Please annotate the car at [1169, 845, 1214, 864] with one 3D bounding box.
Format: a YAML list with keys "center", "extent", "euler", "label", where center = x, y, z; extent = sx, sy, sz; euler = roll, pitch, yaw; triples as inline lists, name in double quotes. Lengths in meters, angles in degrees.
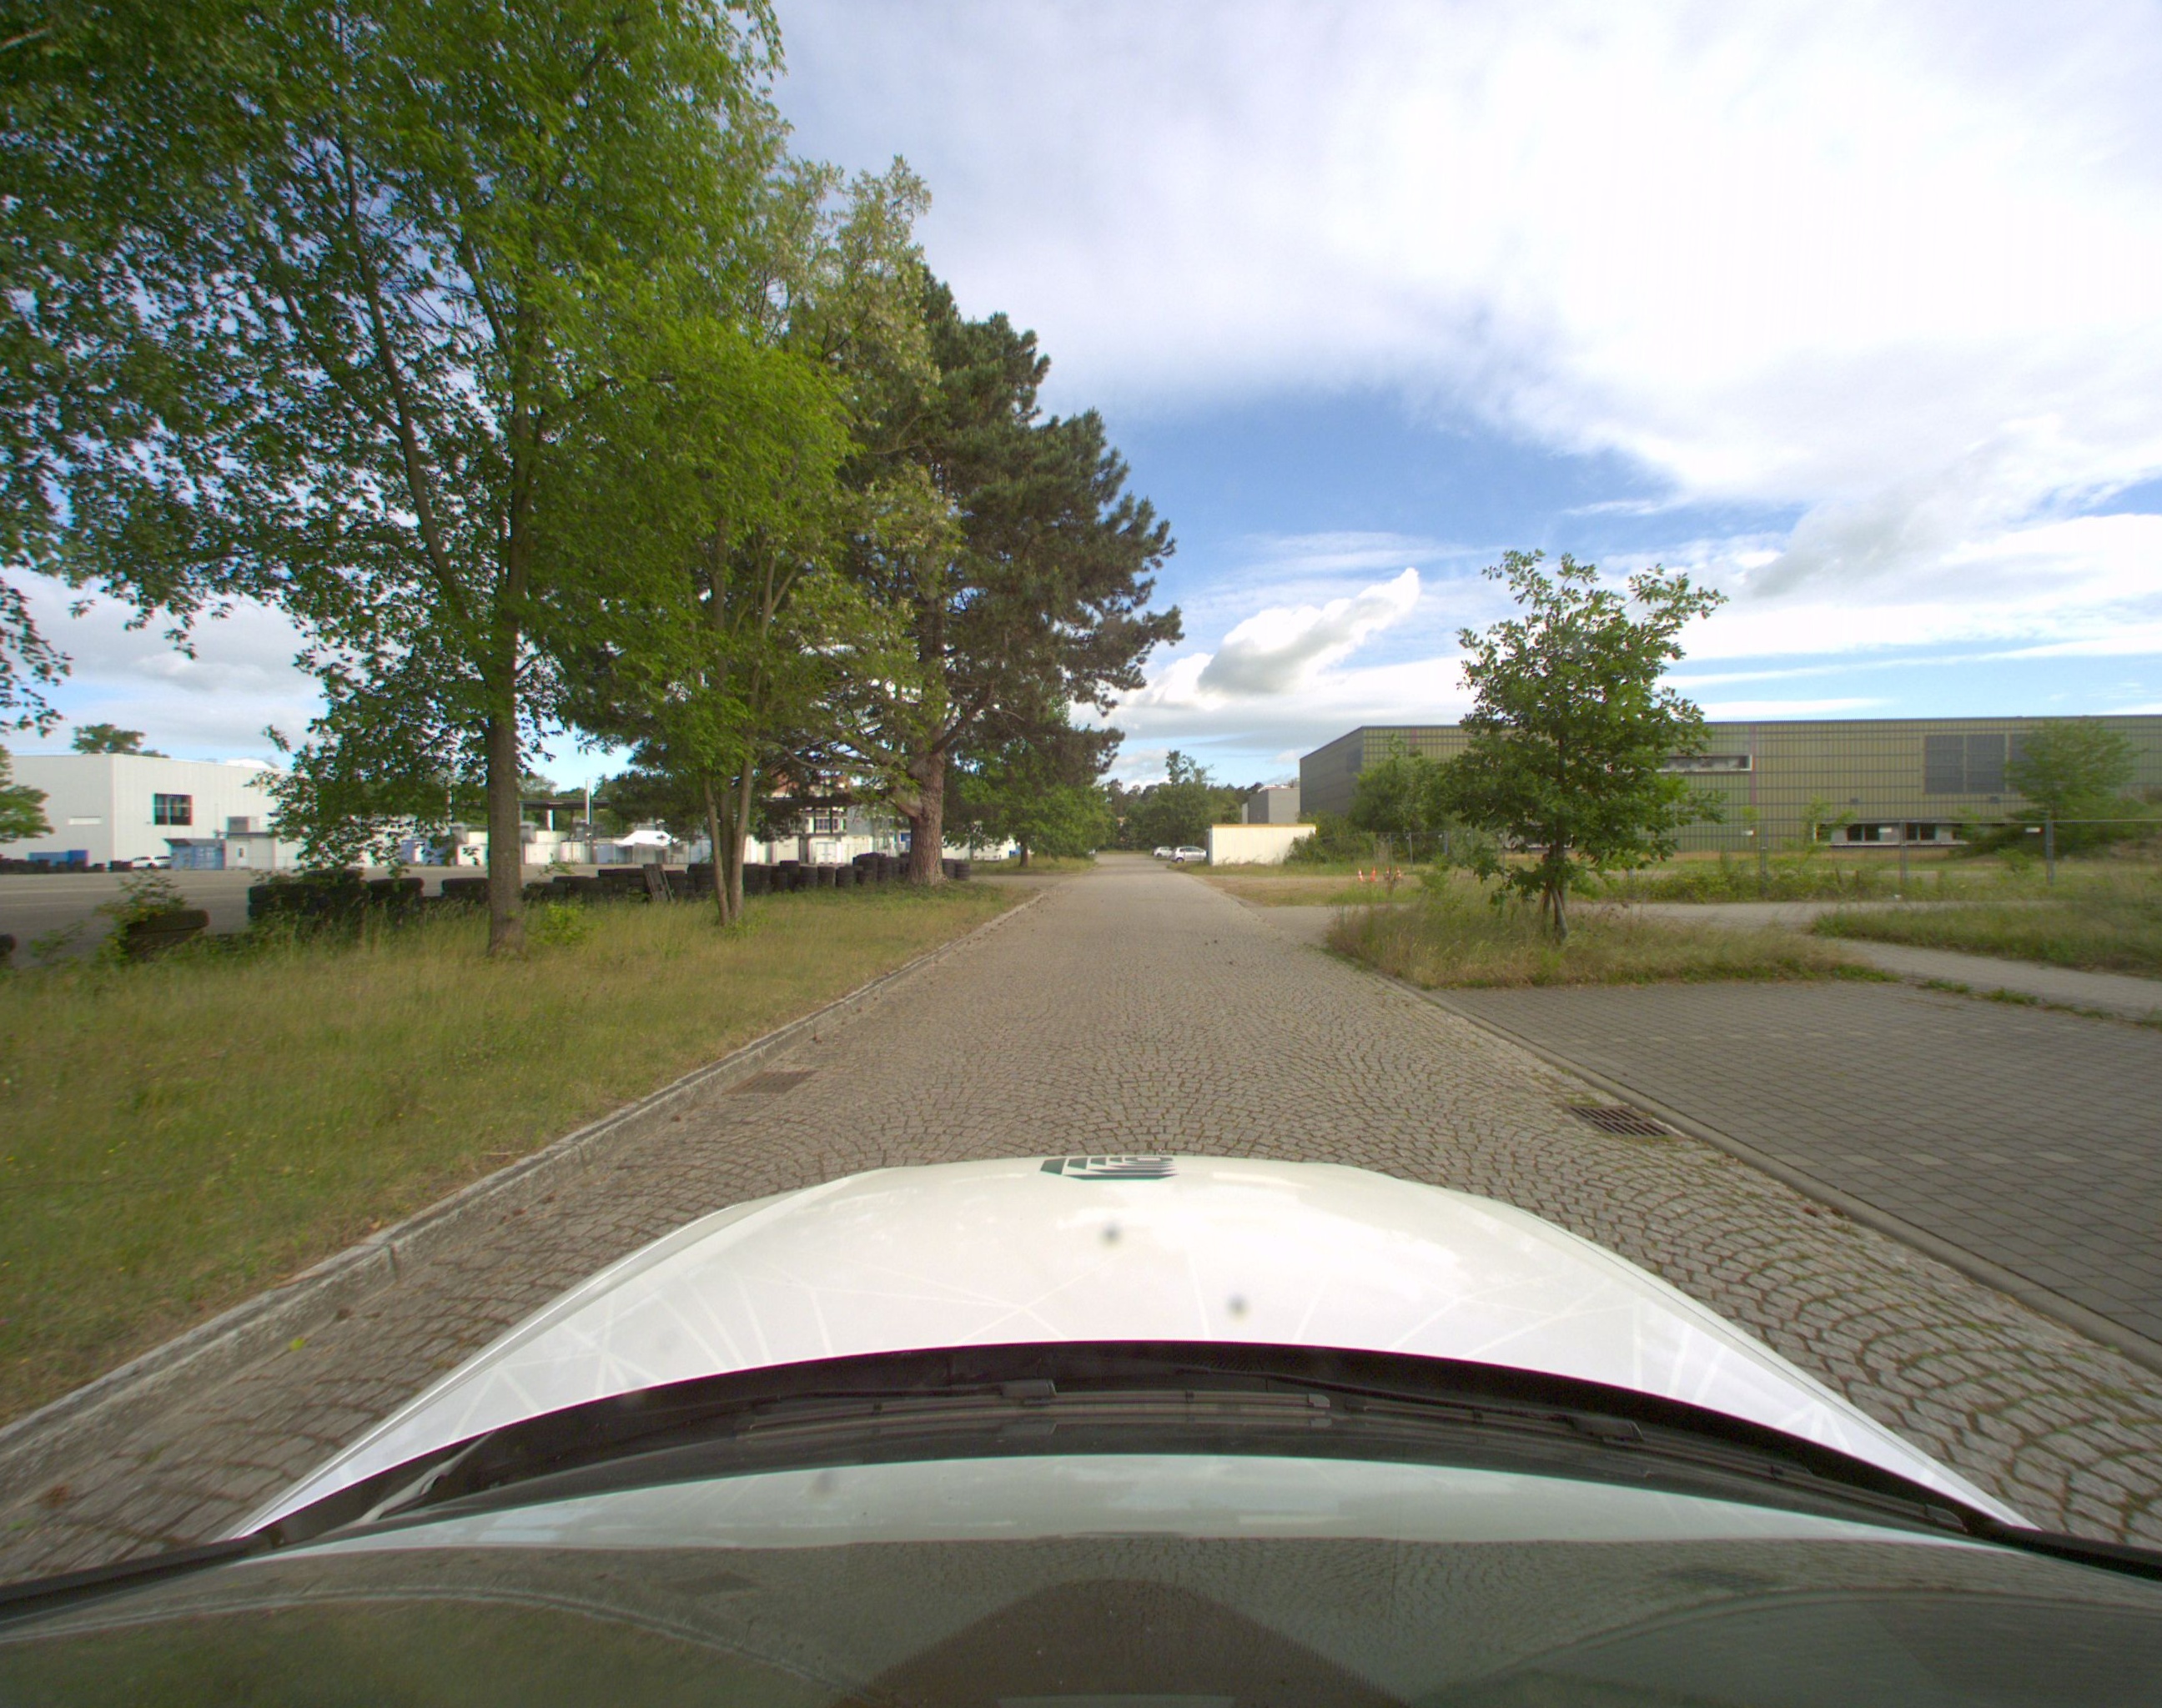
- center: [9.991, 0.012, 73.716]
  extent: [3.837, 1.654, 1.686]
  euler: [0, 0, 0]
  label: "car"

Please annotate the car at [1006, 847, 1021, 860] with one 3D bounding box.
- center: [-10.604, -0.097, 128.002]
  extent: [1.918, 2.047, 4.601]
  euler: [0, 0, 1]
  label: "car"

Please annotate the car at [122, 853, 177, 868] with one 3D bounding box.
- center: [-97.672, 0.654, 85.417]
  extent: [3.952, 1.533, 1.630]
  euler: [0, 0, 0]
  label: "car"

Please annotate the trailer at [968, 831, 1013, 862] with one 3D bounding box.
- center: [-9.557, -0.796, 87.258]
  extent: [3.144, 3.067, 8.796]
  euler: [0, 0, 5]
  label: "trailer"

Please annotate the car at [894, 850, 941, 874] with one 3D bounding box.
- center: [-9.943, 0.466, 49.759]
  extent: [1.756, 1.453, 3.497]
  euler: [0, 0, 9]
  label: "car"

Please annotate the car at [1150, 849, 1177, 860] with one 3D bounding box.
- center: [12.719, 0.107, 125.393]
  extent: [3.974, 1.601, 1.729]
  euler: [0, 0, 0]
  label: "car"

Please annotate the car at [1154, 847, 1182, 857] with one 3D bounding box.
- center: [12.734, -0.315, 119.829]
  extent: [4.007, 1.502, 1.550]
  euler: [0, 0, 3]
  label: "car"
